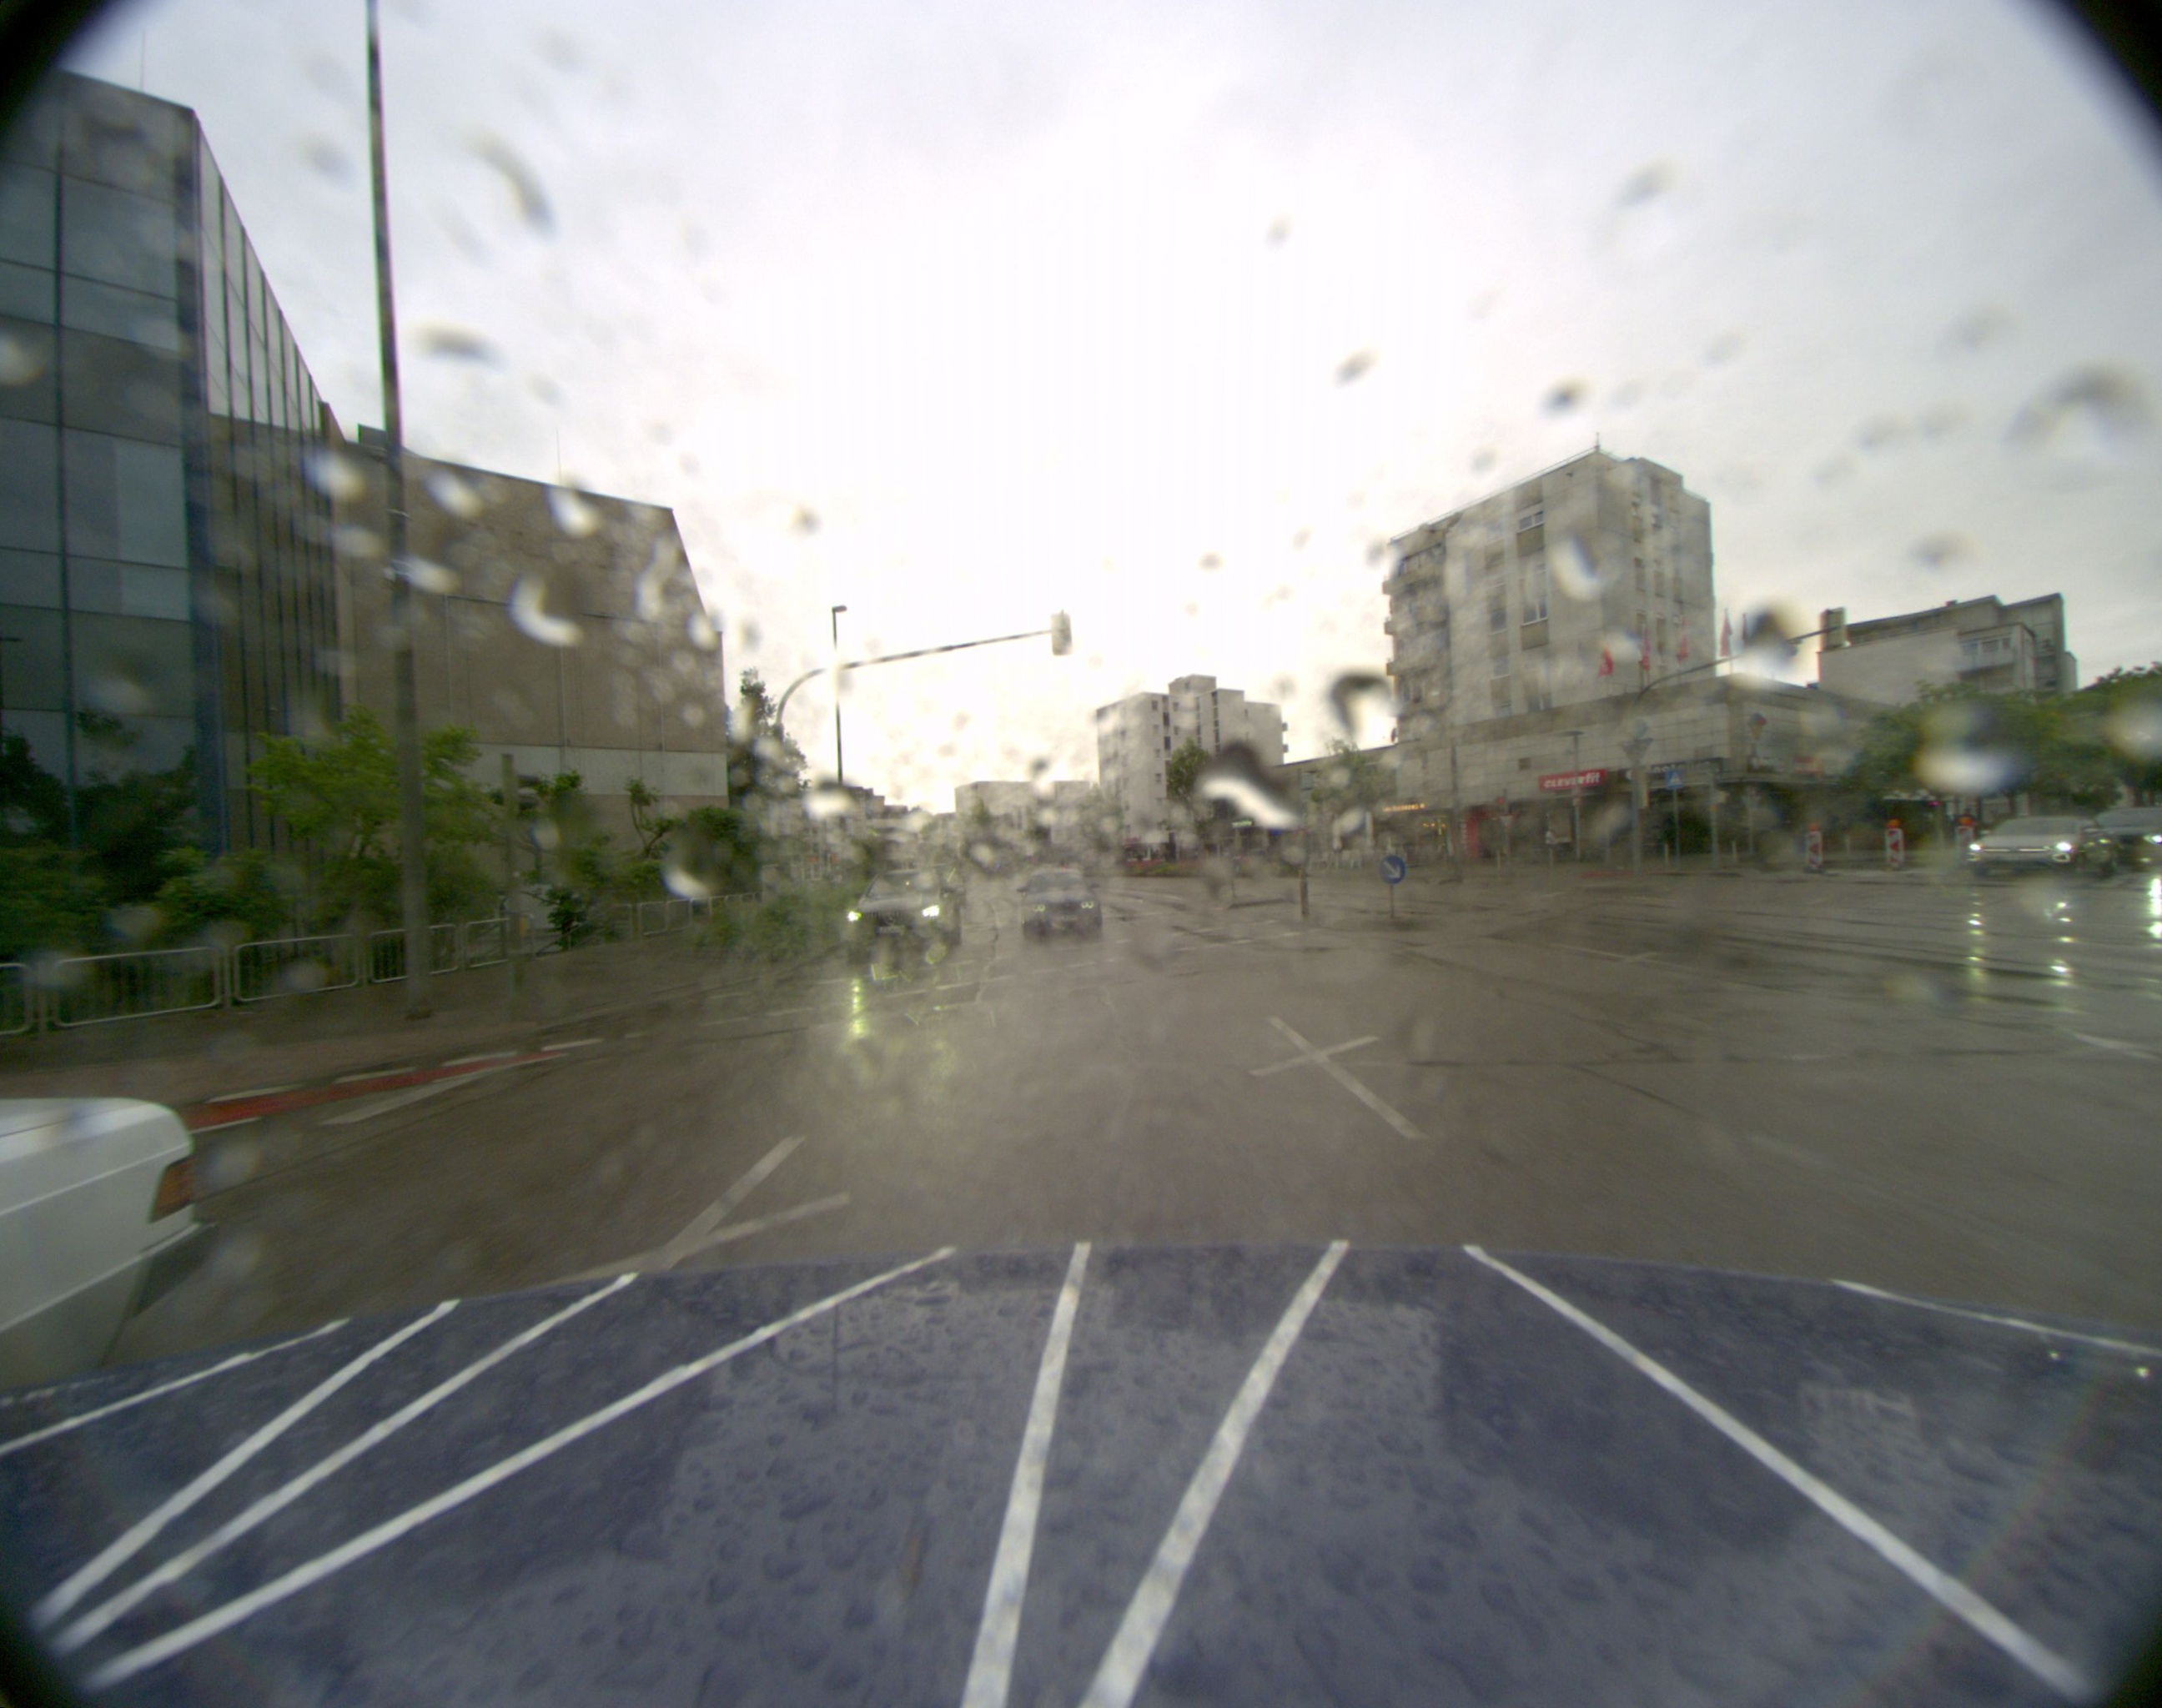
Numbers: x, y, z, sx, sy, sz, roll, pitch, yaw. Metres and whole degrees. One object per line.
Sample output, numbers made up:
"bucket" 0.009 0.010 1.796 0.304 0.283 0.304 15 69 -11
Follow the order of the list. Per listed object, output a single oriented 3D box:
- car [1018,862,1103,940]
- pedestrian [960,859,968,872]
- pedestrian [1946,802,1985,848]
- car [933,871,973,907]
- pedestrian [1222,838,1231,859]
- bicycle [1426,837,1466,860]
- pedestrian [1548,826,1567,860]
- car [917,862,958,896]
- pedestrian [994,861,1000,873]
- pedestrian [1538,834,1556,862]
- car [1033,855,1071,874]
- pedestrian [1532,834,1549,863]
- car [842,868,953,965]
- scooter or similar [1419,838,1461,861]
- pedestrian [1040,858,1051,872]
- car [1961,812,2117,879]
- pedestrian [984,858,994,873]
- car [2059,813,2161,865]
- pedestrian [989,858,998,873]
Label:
"car" -0.539 1.010 17.793 1.676 1.534 3.912 -3 -1 -4
"pedestrian" -17.676 1.685 114.855 0.907 1.904 0.975 -3 0 -32
"pedestrian" 37.871 -1.231 32.525 0.720 1.883 0.807 -2 0 -13
"car" -5.806 1.545 34.699 1.637 1.378 4.511 -3 0 -9
"pedestrian" 12.601 -0.462 65.889 0.427 1.837 0.500 -3 1 -20
"bicycle" 21.516 -0.318 44.740 2.556 1.216 0.695 -3 0 -27
"pedestrian" 24.596 -0.558 39.225 0.714 1.683 0.658 -4 -1 28
"car" -8.929 1.507 46.988 2.003 1.883 4.580 -3 1 -16
"pedestrian" -12.180 1.909 109.663 0.550 1.740 0.679 -3 0 -29
"pedestrian" 22.381 -0.290 36.468 0.497 1.340 0.537 -3 0 5
"car" -2.804 1.062 73.016 1.894 1.672 4.496 -4 0 -27
"pedestrian" 22.424 -0.272 37.069 0.497 1.340 0.537 -3 2 3
"car" -3.757 1.181 16.092 1.908 1.611 4.331 -3 0 -11
"scooter or similar" 20.175 -0.232 42.662 2.596 1.167 0.641 -3 0 -28
"pedestrian" -4.349 1.353 93.914 1.012 1.636 0.725 -4 1 -31
"car" 25.436 -0.252 20.157 4.211 1.586 1.866 -2 0 -28
"pedestrian" -12.893 1.631 106.453 0.907 2.002 0.975 -3 0 -32
"car" 31.792 -0.484 22.970 4.063 1.412 1.866 -3 1 -25
"pedestrian" -12.344 1.666 107.331 0.907 2.002 0.975 -3 0 -32
